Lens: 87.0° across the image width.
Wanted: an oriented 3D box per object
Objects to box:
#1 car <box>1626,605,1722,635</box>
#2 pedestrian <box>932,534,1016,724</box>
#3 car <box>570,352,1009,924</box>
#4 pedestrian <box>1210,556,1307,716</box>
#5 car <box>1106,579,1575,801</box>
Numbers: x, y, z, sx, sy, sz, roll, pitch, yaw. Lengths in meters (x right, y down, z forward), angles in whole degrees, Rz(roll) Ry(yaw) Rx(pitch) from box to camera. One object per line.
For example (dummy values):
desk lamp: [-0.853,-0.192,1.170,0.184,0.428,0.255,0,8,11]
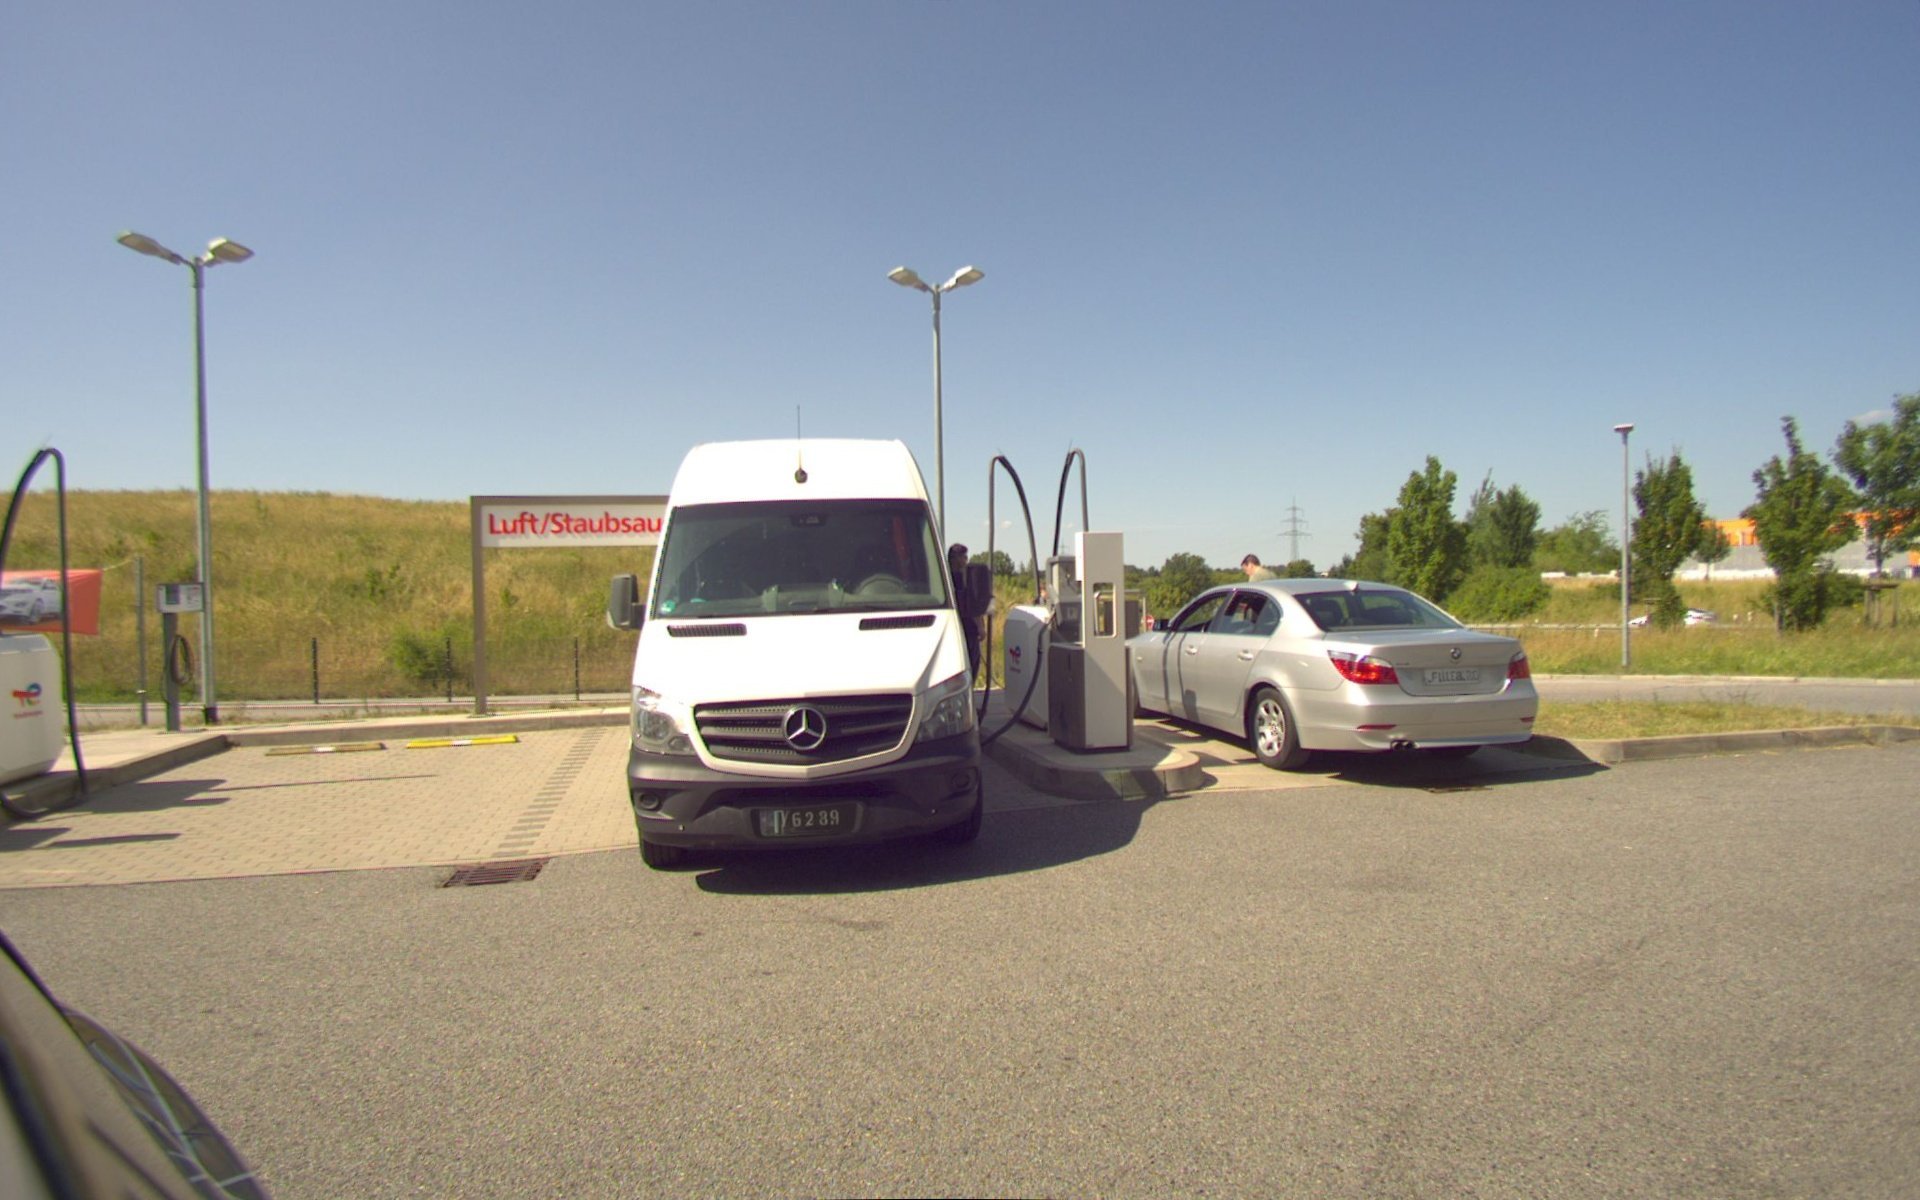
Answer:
car: [39.641,1.107,56.263,1.864,1.530,4.012,-1,-1,-17]
pedestrian: [0.154,0.282,10.022,0.701,1.783,0.843,-1,0,8]
car: [-1.246,0.062,8.191,1.968,2.590,7.044,-1,2,-8]
pedestrian: [3.426,0.399,11.627,0.843,1.762,0.700,-2,-1,36]
car: [2.946,0.575,9.013,1.763,1.439,4.333,-1,1,-13]
